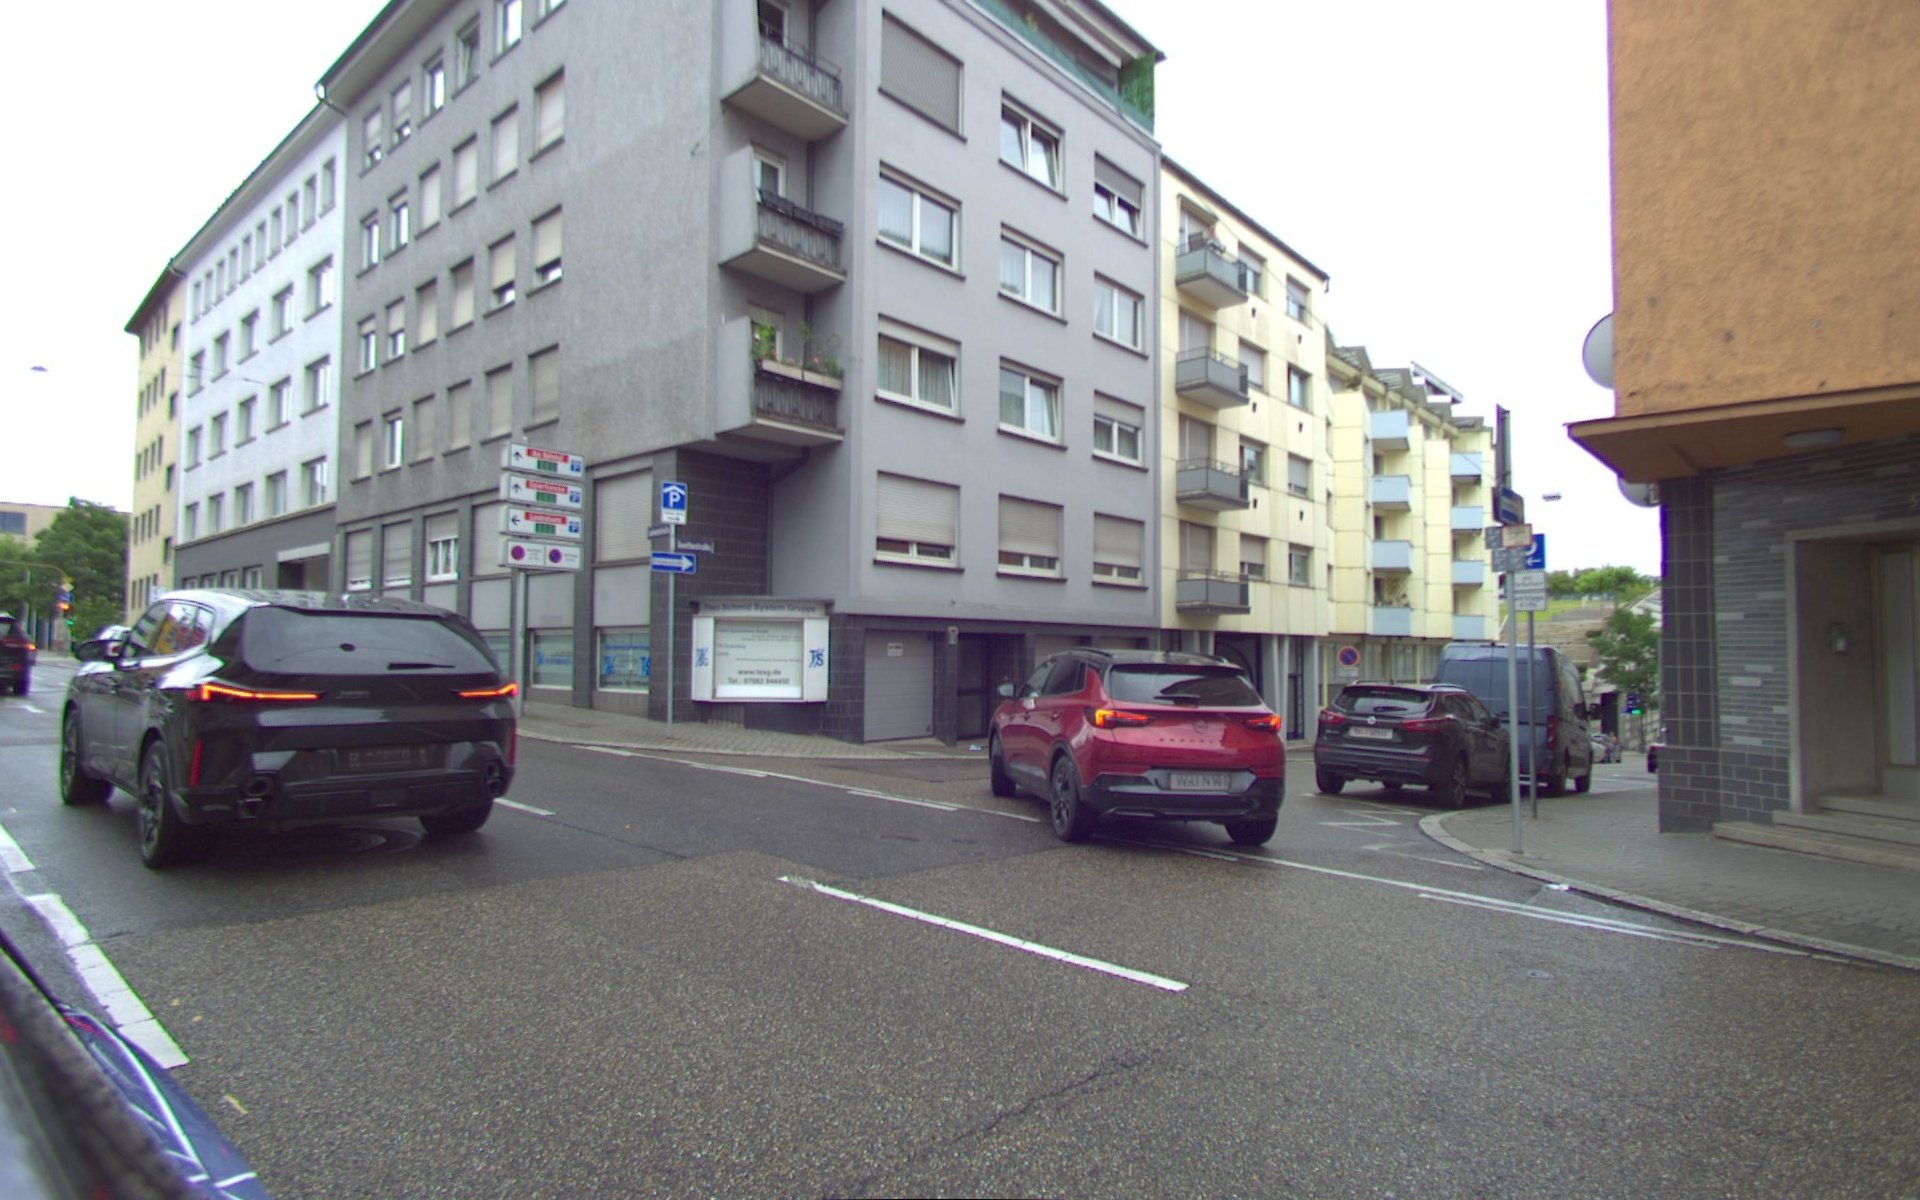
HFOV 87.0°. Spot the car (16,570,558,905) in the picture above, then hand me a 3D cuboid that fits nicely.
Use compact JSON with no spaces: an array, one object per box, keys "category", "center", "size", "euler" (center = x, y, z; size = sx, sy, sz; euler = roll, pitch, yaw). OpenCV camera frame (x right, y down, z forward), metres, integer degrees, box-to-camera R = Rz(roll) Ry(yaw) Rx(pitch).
[{"category":"car","center":[-5.273,0.816,7.639],"size":[4.815,1.734,2.104],"euler":[-1,-5,41]}]

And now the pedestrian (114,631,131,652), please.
[{"category":"pedestrian","center":[-46.271,2.299,55.899],"size":[0.407,1.158,0.575],"euler":[-2,-6,42]}]

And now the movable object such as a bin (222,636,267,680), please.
[{"category":"movable object such as a bin","center":[-22.906,1.838,32.394],"size":[1.096,1.343,0.933],"euler":[-1,0,41]}]

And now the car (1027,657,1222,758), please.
[{"category":"car","center":[3.342,2.167,19.942],"size":[1.794,1.700,4.186],"euler":[-1,-8,41]}]

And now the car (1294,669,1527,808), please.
[{"category":"car","center":[6.421,1.943,14.165],"size":[1.842,1.589,4.098],"euler":[-1,-8,41]}]

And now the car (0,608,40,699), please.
[{"category":"car","center":[-20.503,1.041,20.737],"size":[4.471,1.740,1.817],"euler":[-1,-5,41]}]

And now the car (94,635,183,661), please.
[{"category":"car","center":[-50.248,2.946,61.958],"size":[1.738,1.519,3.944],"euler":[-1,-3,42]}]

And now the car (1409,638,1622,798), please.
[{"category":"car","center":[10.517,2.211,18.864],"size":[2.249,2.481,5.975],"euler":[-1,-7,41]}]

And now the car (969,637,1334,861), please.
[{"category":"car","center":[1.475,1.218,9.571],"size":[1.773,1.596,4.326],"euler":[3,-4,-13]}]

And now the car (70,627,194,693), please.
[{"category":"car","center":[-21.224,1.510,25.888],"size":[4.157,1.519,1.685],"euler":[-1,-5,41]}]

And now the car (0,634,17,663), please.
[{"category":"car","center":[-52.714,2.549,53.545],"size":[1.738,1.519,3.944],"euler":[-1,-3,42]}]

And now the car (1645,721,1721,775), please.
[{"category":"car","center":[25.861,5.306,36.170],"size":[1.817,1.688,3.998],"euler":[-1,-8,41]}]
